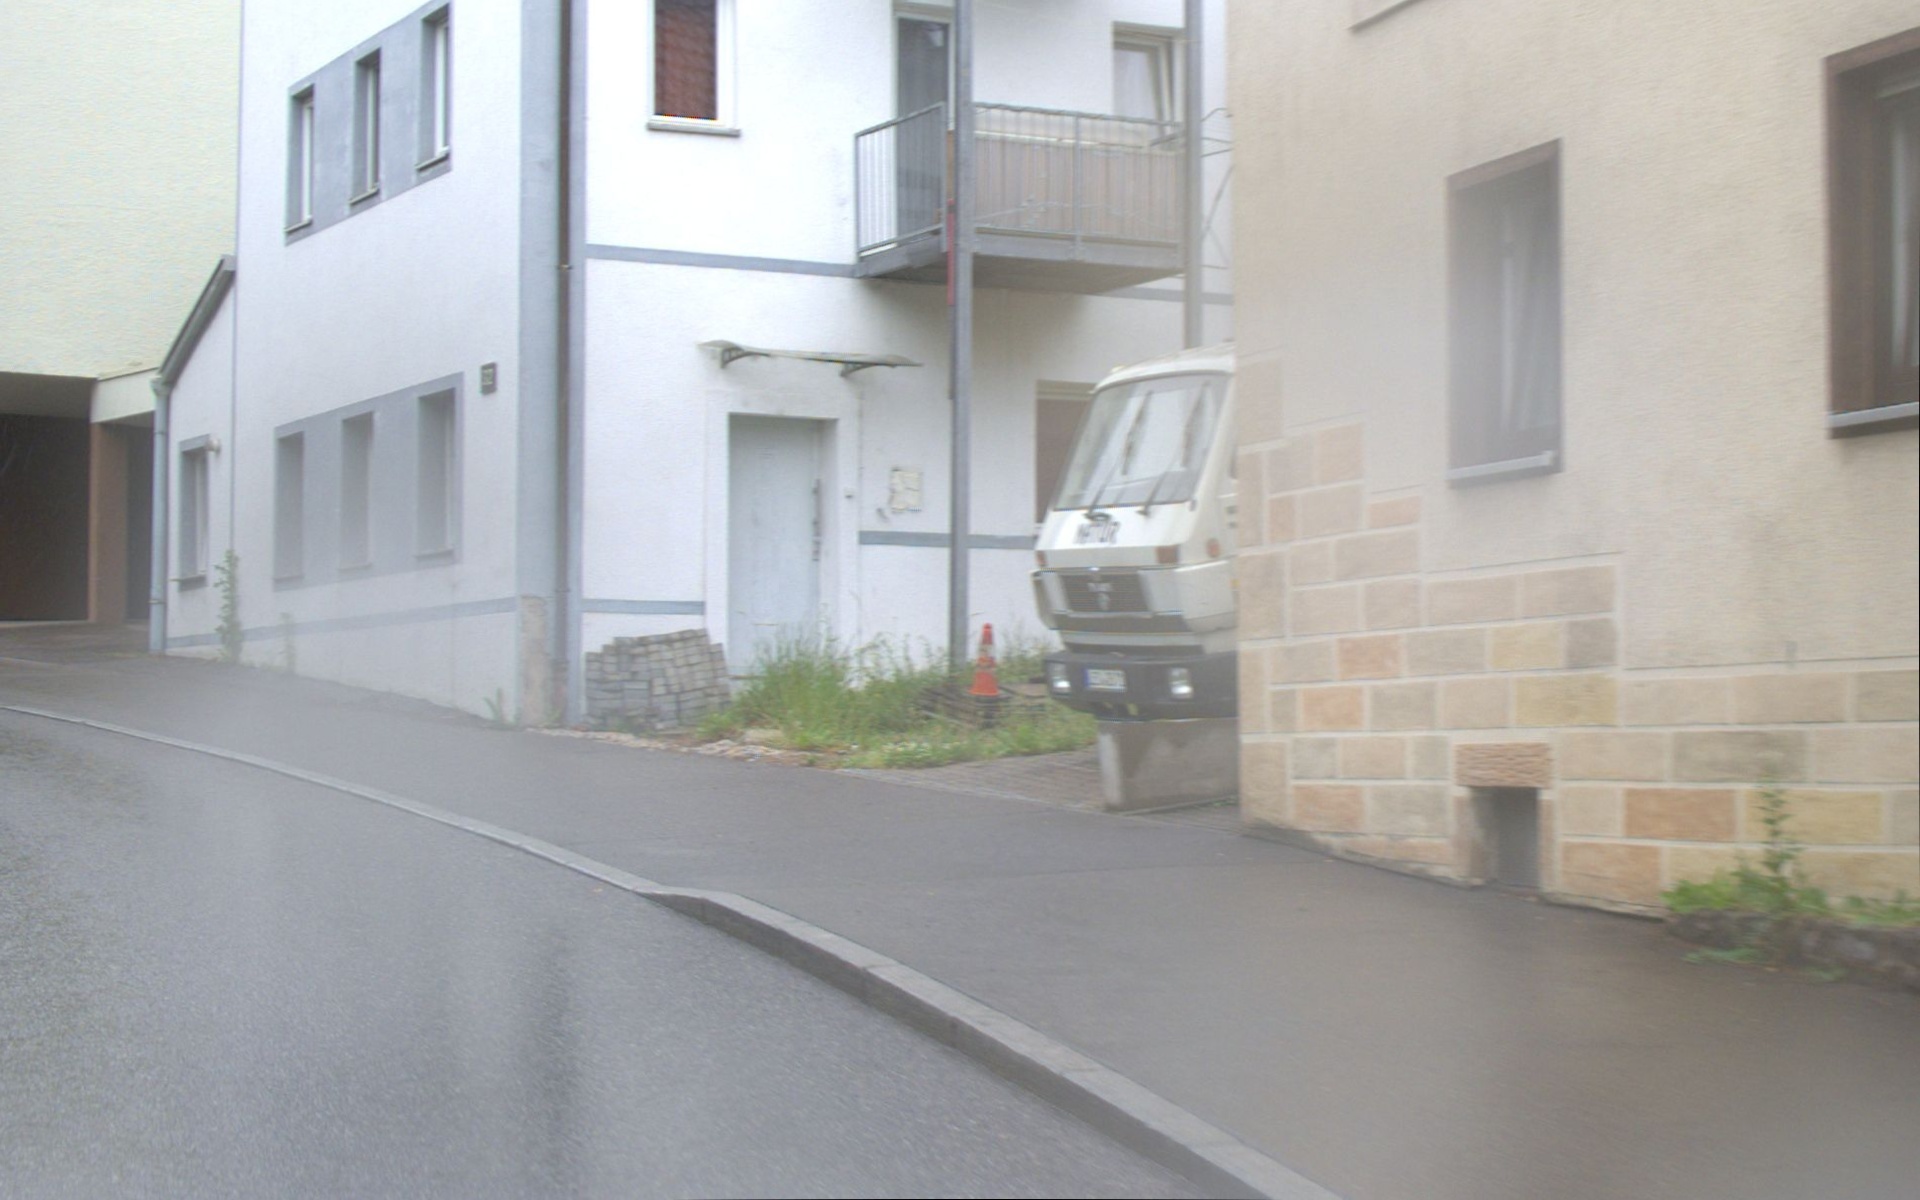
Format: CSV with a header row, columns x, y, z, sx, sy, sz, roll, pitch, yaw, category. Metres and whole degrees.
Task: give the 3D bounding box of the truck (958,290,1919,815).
x,y,z,sx,sy,sz,roll,pitch,yaw,category
3.616,-0.401,20.006,6.955,2.693,2.141,-2,3,-24,truck
